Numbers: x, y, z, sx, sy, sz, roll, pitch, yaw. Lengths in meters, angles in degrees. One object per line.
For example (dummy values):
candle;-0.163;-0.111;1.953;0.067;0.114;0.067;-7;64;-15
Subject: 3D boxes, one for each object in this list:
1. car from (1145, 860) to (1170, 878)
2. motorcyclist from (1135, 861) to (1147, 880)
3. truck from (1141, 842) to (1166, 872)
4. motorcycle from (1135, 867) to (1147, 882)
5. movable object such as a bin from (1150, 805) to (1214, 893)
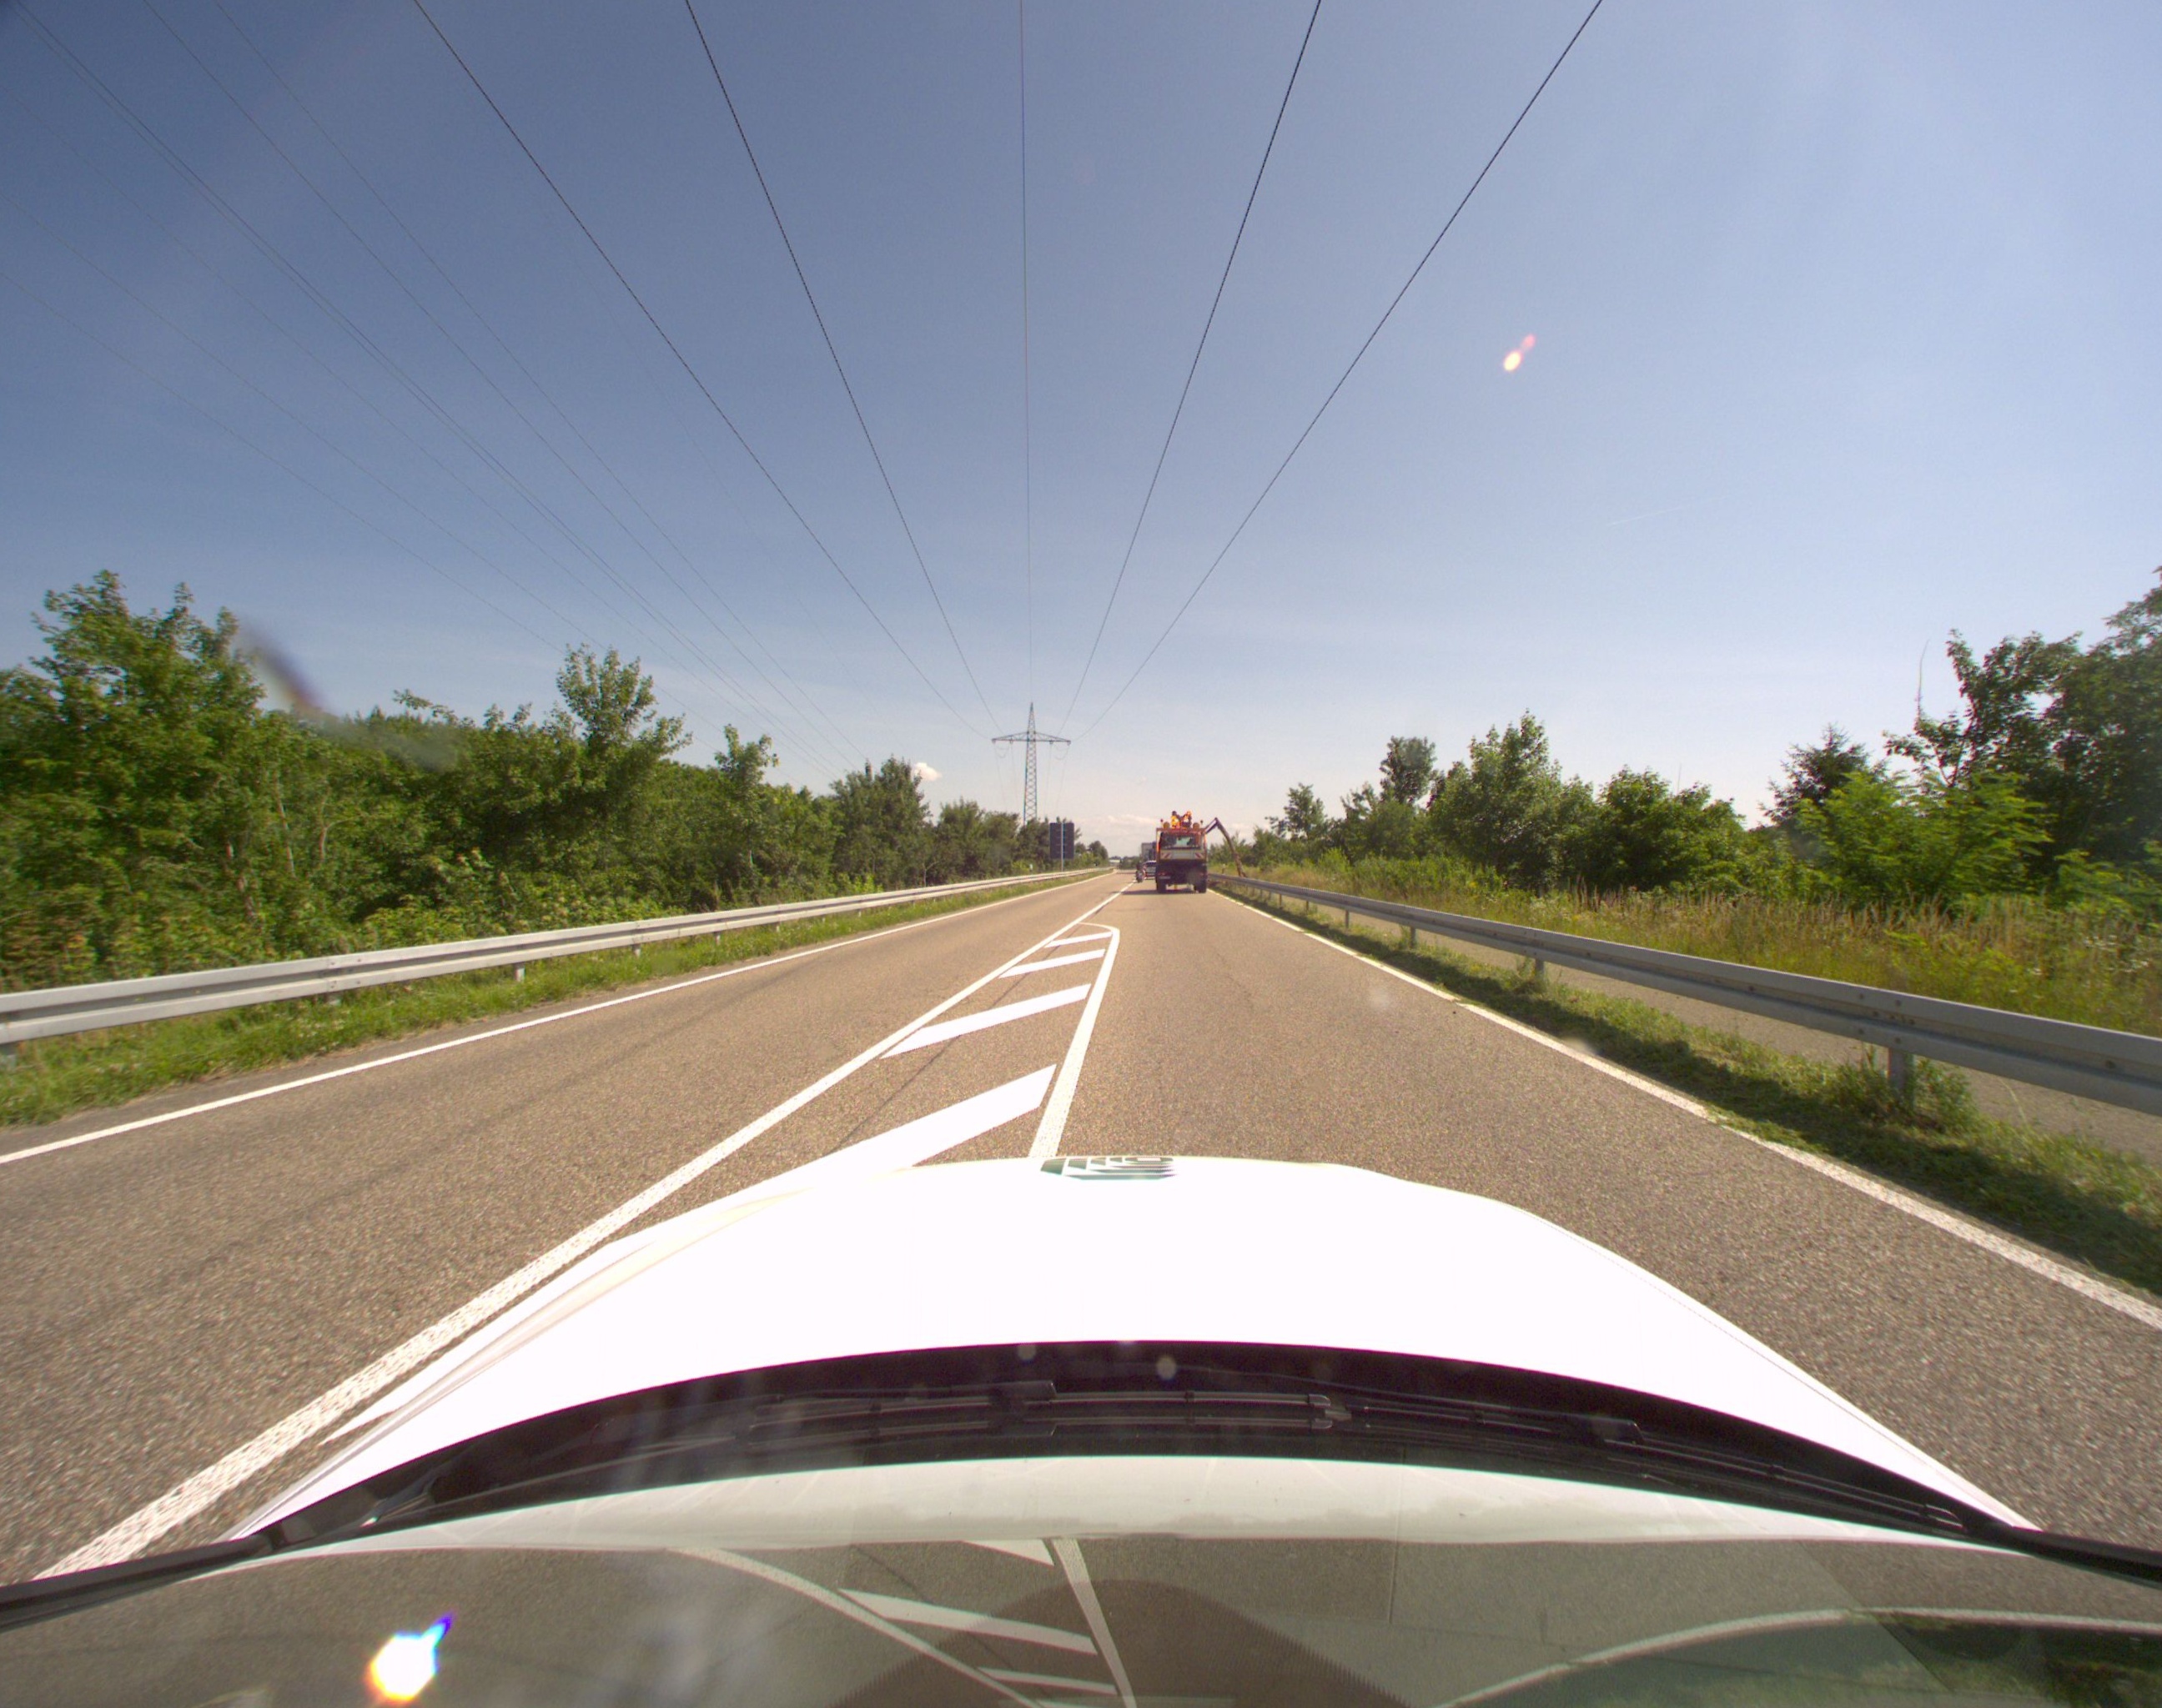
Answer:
car;6.524;1.270;69.345;1.814;1.451;4.011;-1;0;10
motorcyclist;4.257;1.175;57.796;0.776;1.325;0.814;-1;0;5
truck;9.936;0.473;111.852;3.226;3.979;9.456;-1;-1;5
motorcycle;4.248;1.447;57.774;0.776;0.975;2.365;-1;0;5
movable object such as a bin;4.902;-0.200;40.460;2.740;3.839;9.459;-1;0;6
